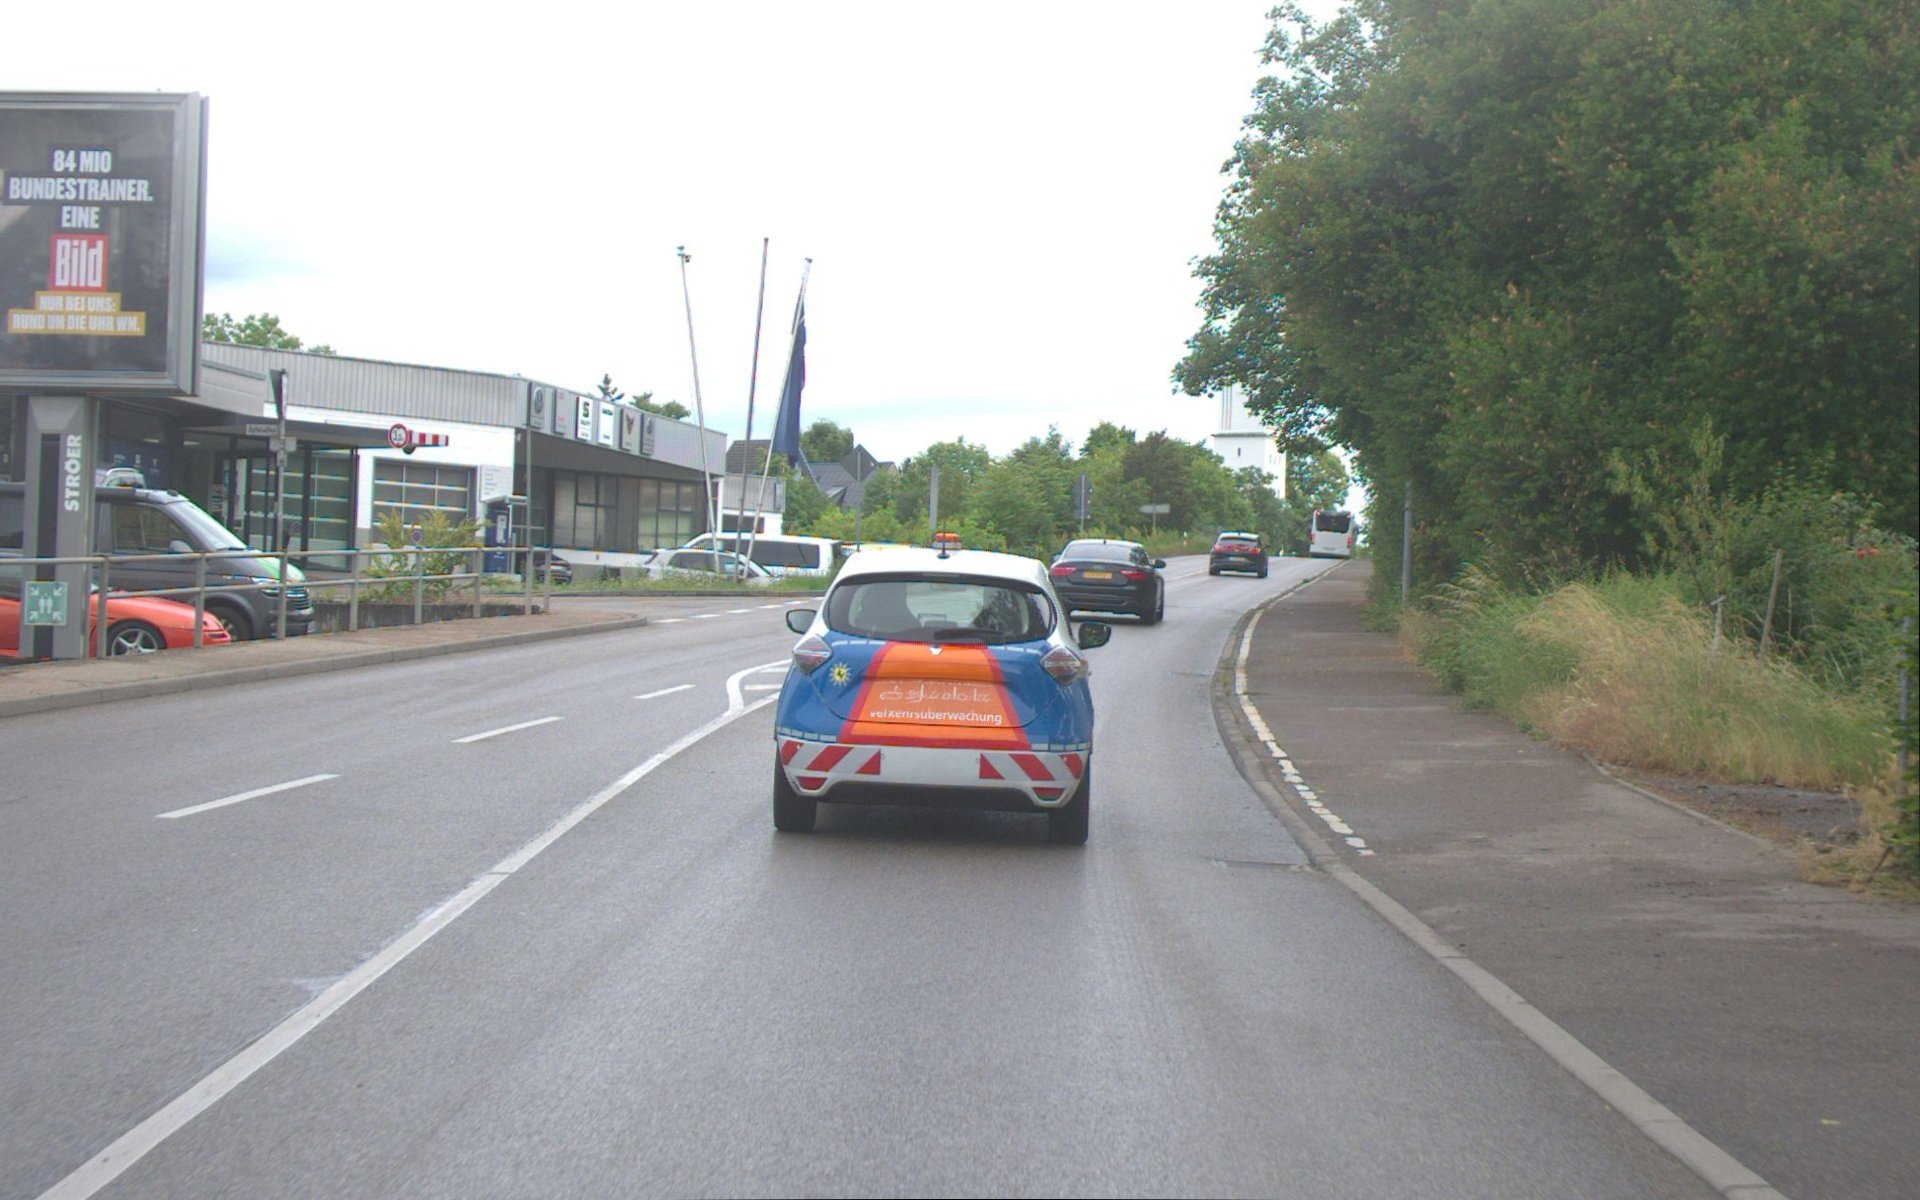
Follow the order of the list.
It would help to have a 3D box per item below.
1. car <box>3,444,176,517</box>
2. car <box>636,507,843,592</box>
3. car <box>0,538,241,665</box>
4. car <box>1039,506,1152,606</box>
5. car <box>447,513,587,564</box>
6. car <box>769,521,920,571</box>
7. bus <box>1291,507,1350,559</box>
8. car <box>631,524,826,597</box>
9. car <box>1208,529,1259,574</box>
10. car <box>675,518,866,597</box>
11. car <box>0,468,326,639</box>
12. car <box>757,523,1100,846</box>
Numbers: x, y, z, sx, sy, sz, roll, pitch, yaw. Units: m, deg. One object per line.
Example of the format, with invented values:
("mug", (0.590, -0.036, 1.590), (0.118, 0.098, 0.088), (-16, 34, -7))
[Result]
("car", (-18.680, -2.551, 73.942), (1.819, 1.473, 4.019), (2, 2, 16))
("car", (-5.002, -1.158, 78.361), (4.413, 1.791, 1.934), (2, 2, 6))
("car", (-9.872, -0.012, 36.737), (4.091, 1.263, 1.770), (1, 1, -6))
("car", (2.280, -0.739, 57.598), (1.802, 1.584, 3.563), (1, 1, 3))
("car", (-13.217, -1.834, 102.429), (4.019, 1.411, 1.949), (3, 2, 41))
("car", (-3.230, -1.523, 96.769), (4.063, 1.286, 1.804), (2, 2, 4))
("bus", (23.156, -4.265, 221.358), (2.911, 3.159, 11.466), (1, 1, 2))
("car", (-5.079, -0.882, 75.797), (4.010, 1.473, 1.823), (2, 2, 6))
("car", (8.925, -1.580, 112.233), (1.614, 1.402, 3.497), (1, 1, 5))
("car", (-4.616, -1.059, 84.145), (4.413, 1.791, 2.002), (1, 2, 4))
("car", (-10.044, -0.558, 39.773), (5.067, 1.864, 1.823), (1, 1, -1))
("car", (-0.093, 0.425, 19.494), (1.657, 1.587, 3.568), (3, 0, 3))
